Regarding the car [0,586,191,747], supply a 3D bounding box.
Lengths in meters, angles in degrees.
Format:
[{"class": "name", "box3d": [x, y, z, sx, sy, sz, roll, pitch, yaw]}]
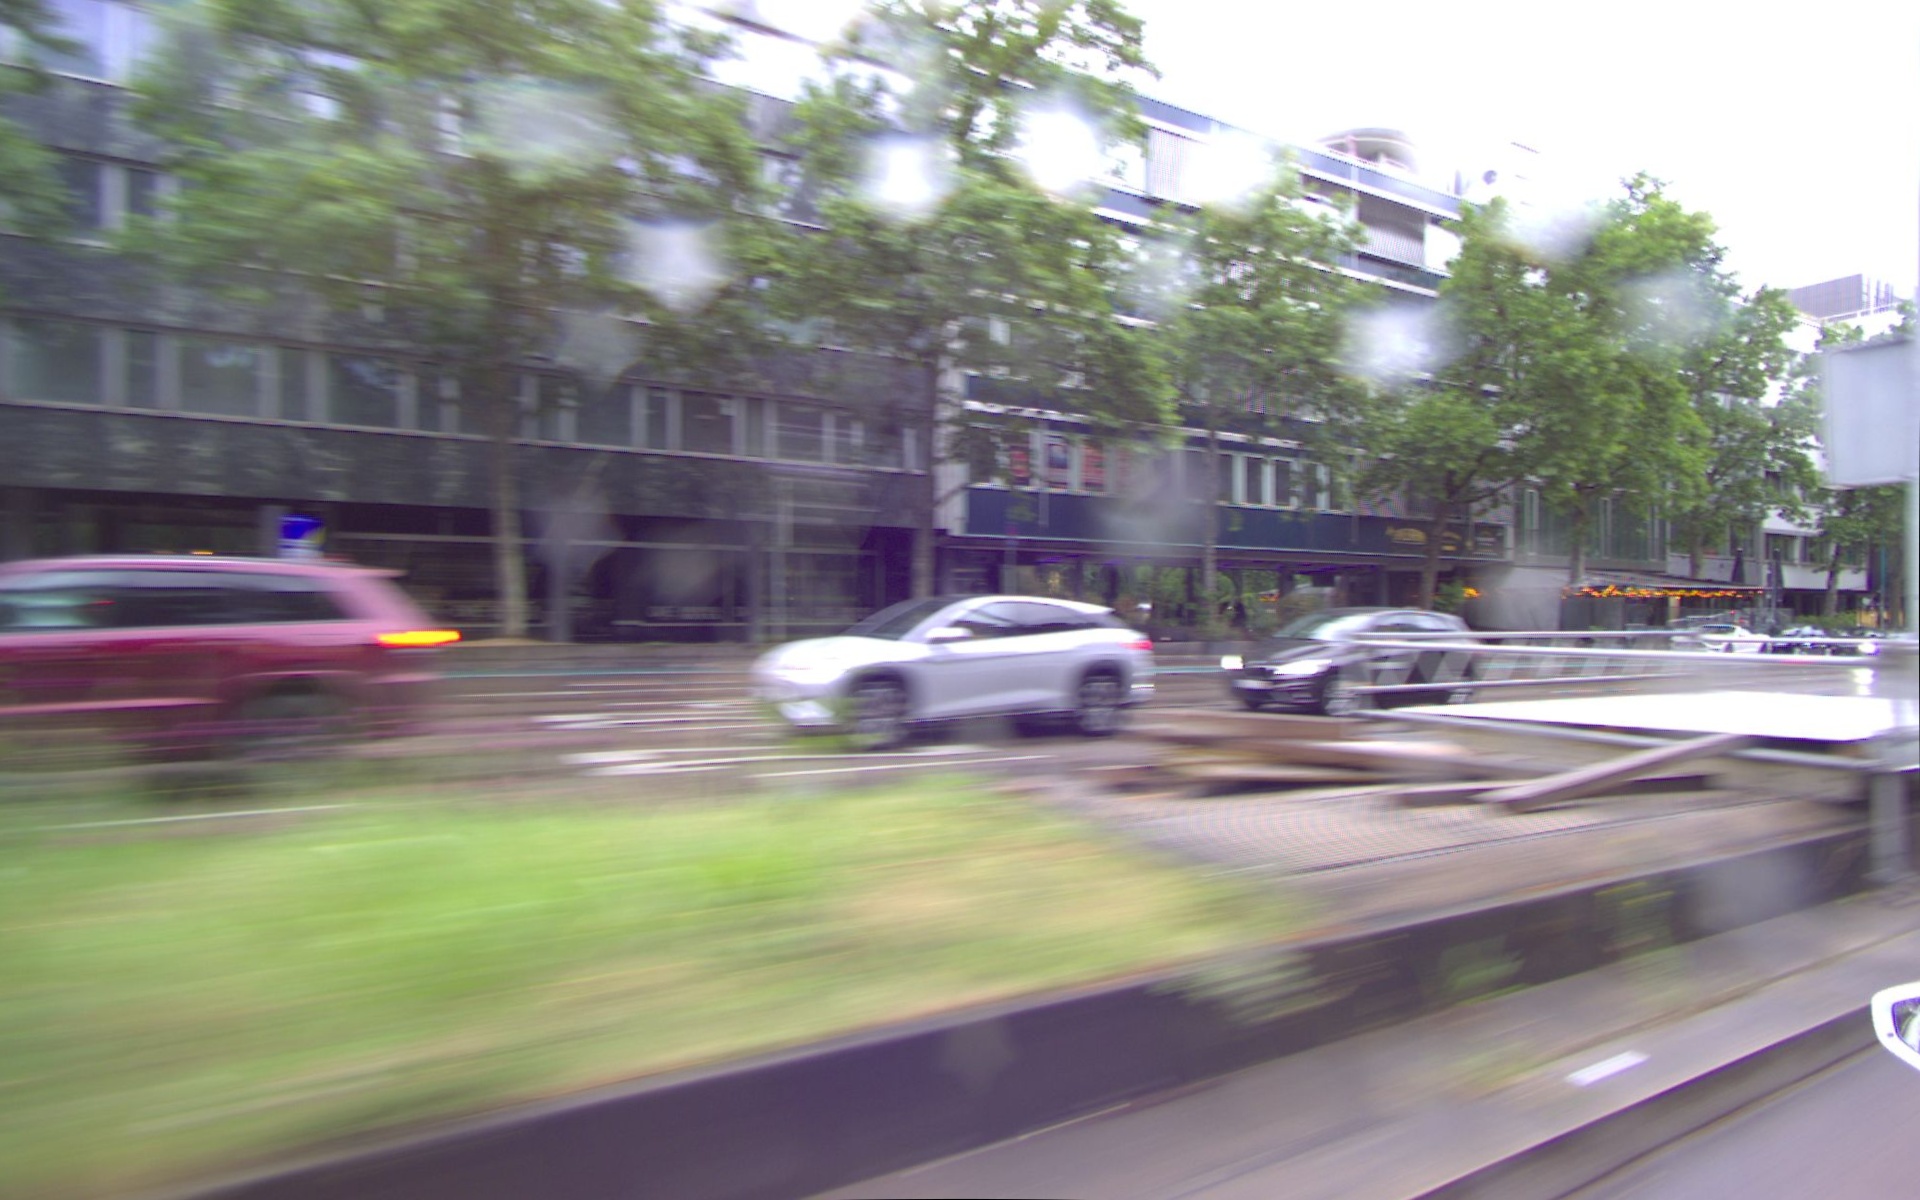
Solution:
[{"class": "car", "box3d": [-10.171, 0.605, 9.548, 4.529, 1.511, 1.706, 1, 0, -39]}]

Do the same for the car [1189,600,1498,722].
[{"class": "car", "box3d": [5.774, 0.822, 15.002, 4.487, 1.573, 1.905, 1, 0, -30]}]

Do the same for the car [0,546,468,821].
[{"class": "car", "box3d": [-6.537, 0.544, 7.451, 5.051, 1.790, 1.826, 1, 0, -32]}]

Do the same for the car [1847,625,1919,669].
[{"class": "car", "box3d": [34.285, 1.652, 36.425, 4.903, 1.428, 1.955, 1, 0, -33]}]

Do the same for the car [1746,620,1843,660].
[{"class": "car", "box3d": [34.174, 1.597, 41.122, 3.952, 1.528, 1.828, 1, 0, -30]}]

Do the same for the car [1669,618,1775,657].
[{"class": "car", "box3d": [29.349, 1.418, 38.670, 4.626, 1.371, 1.552, 1, 1, -30]}]

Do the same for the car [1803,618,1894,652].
[{"class": "car", "box3d": [39.089, 1.510, 44.158, 4.403, 1.428, 1.685, 1, 0, -30]}]

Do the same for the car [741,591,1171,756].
[{"class": "car", "box3d": [0.048, 0.738, 11.666, 4.773, 1.594, 1.727, 1, 0, -30]}]
